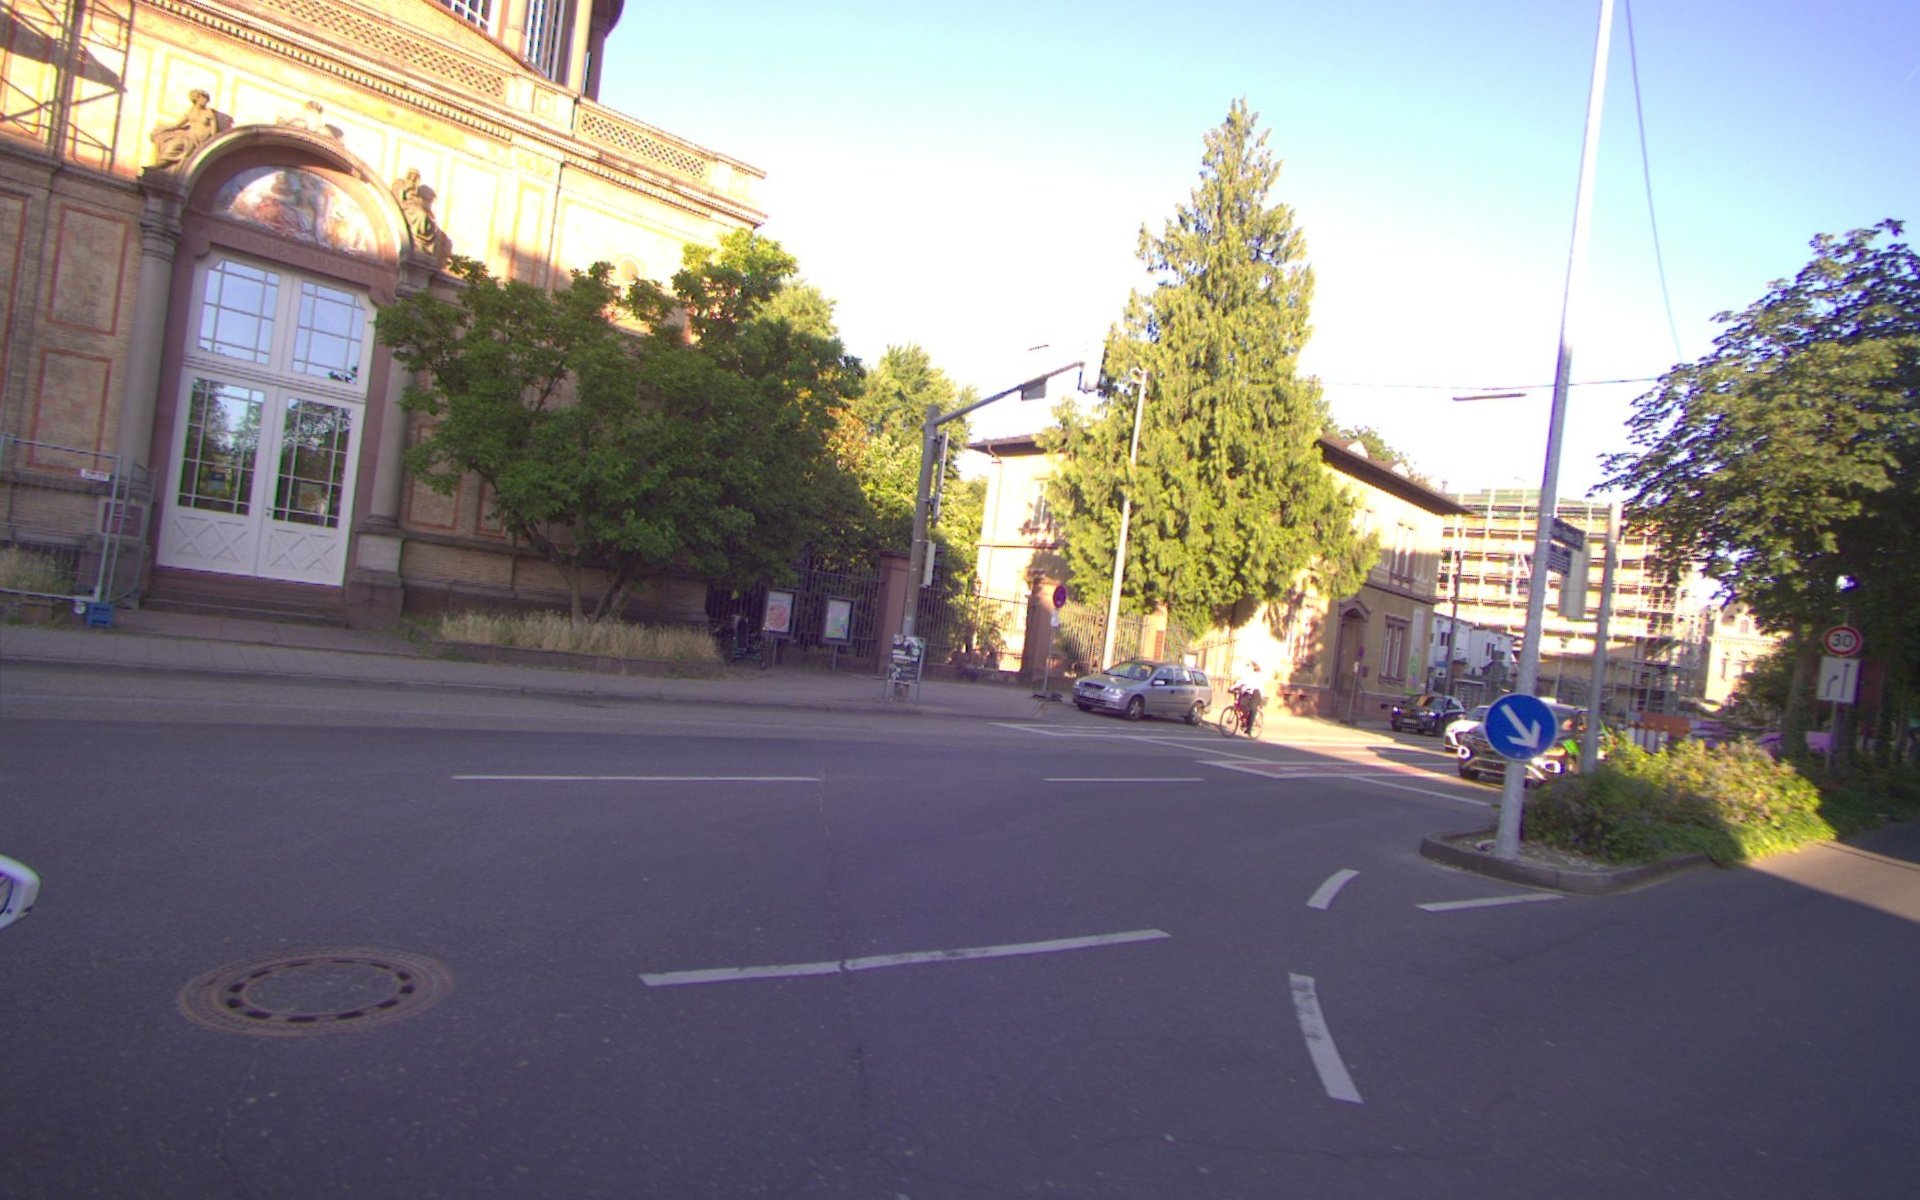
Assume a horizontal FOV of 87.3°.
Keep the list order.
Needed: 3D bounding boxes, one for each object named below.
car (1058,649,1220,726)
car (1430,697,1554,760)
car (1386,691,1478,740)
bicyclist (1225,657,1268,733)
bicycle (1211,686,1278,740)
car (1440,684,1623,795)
[{"bbox_3d":[4.508,2.206,24.985,4.172,1.462,1.694,9,-2,-42],"label":"car"},{"bbox_3d":[14.734,3.572,27.765,3.999,1.407,1.812,9,-3,-44],"label":"car"},{"bbox_3d":[18.211,4.470,38.742,4.054,1.508,1.812,9,-3,-44],"label":"car"},{"bbox_3d":[6.571,2.180,23.093,0.516,1.663,0.661,7,-2,-36],"label":"bicyclist"},{"bbox_3d":[6.526,2.603,23.059,1.653,1.113,0.491,8,-3,-36],"label":"bicycle"},{"bbox_3d":[10.674,2.589,18.656,4.054,1.631,1.812,9,-3,-44],"label":"car"}]
